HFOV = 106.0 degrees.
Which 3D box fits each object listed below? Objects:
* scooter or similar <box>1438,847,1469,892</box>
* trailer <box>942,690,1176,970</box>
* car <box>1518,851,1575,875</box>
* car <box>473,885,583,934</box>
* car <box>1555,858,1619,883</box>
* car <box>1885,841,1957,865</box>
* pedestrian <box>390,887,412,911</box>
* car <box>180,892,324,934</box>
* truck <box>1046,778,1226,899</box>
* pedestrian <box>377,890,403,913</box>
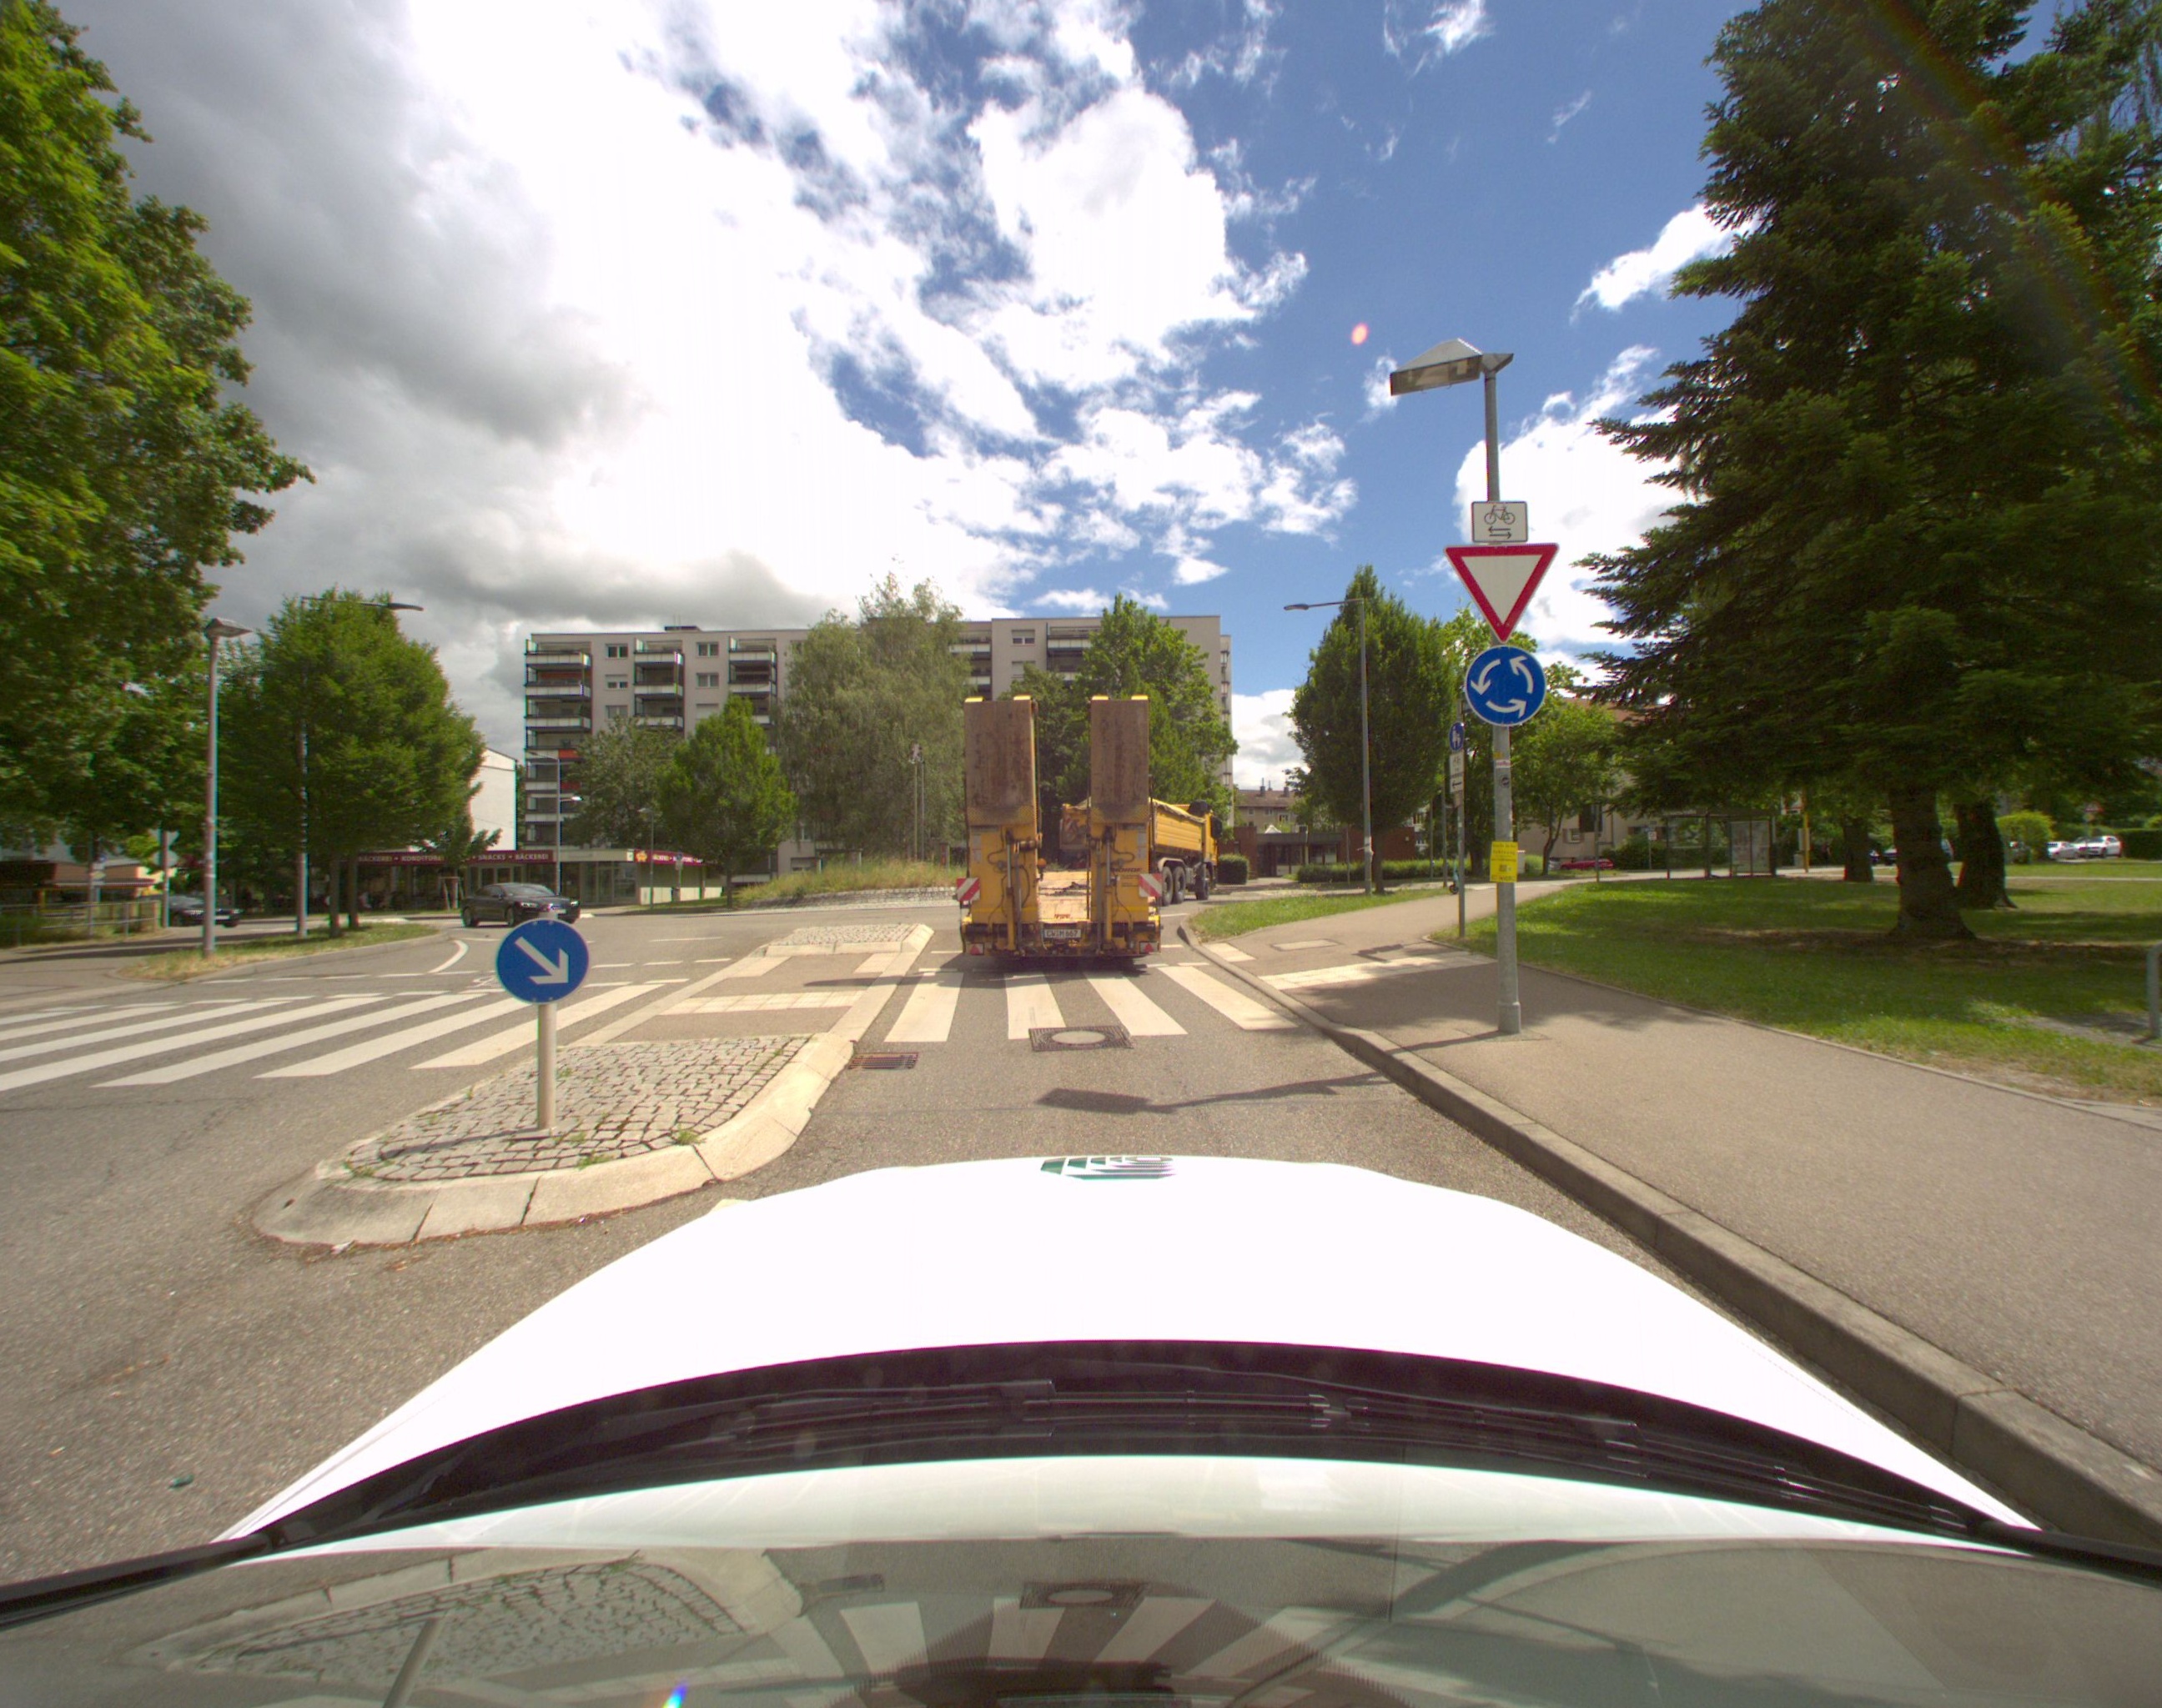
[{"bbox_3d":[11.605,0.461,25.351,0.480,1.343,1.397,-3,-1,38],"label":"scooter or similar"},{"bbox_3d":[0.200,-0.338,15.319,2.850,3.372,10.857,0,0,5],"label":"trailer"},{"bbox_3d":[39.063,0.750,68.458,1.996,1.941,3.980,1,-1,-14],"label":"car"},{"bbox_3d":[-18.077,1.763,26.542,4.559,1.383,1.835,-2,-1,41],"label":"car"},{"bbox_3d":[39.818,1.287,64.205,2.015,1.941,3.980,1,-1,-14],"label":"car"},{"bbox_3d":[57.507,-0.067,55.761,3.999,1.553,1.987,1,-1,-19],"label":"car"},{"bbox_3d":[-41.935,2.773,50.236,0.693,1.381,0.721,-2,-1,7],"label":"pedestrian"},{"bbox_3d":[-32.724,2.301,32.183,4.345,1.455,1.865,0,-1,11],"label":"car"},{"bbox_3d":[2.072,-0.456,24.948,2.962,3.034,8.531,1,1,22],"label":"truck"},{"bbox_3d":[-41.891,2.858,49.376,0.817,1.325,0.880,1,-1,0],"label":"pedestrian"}]
